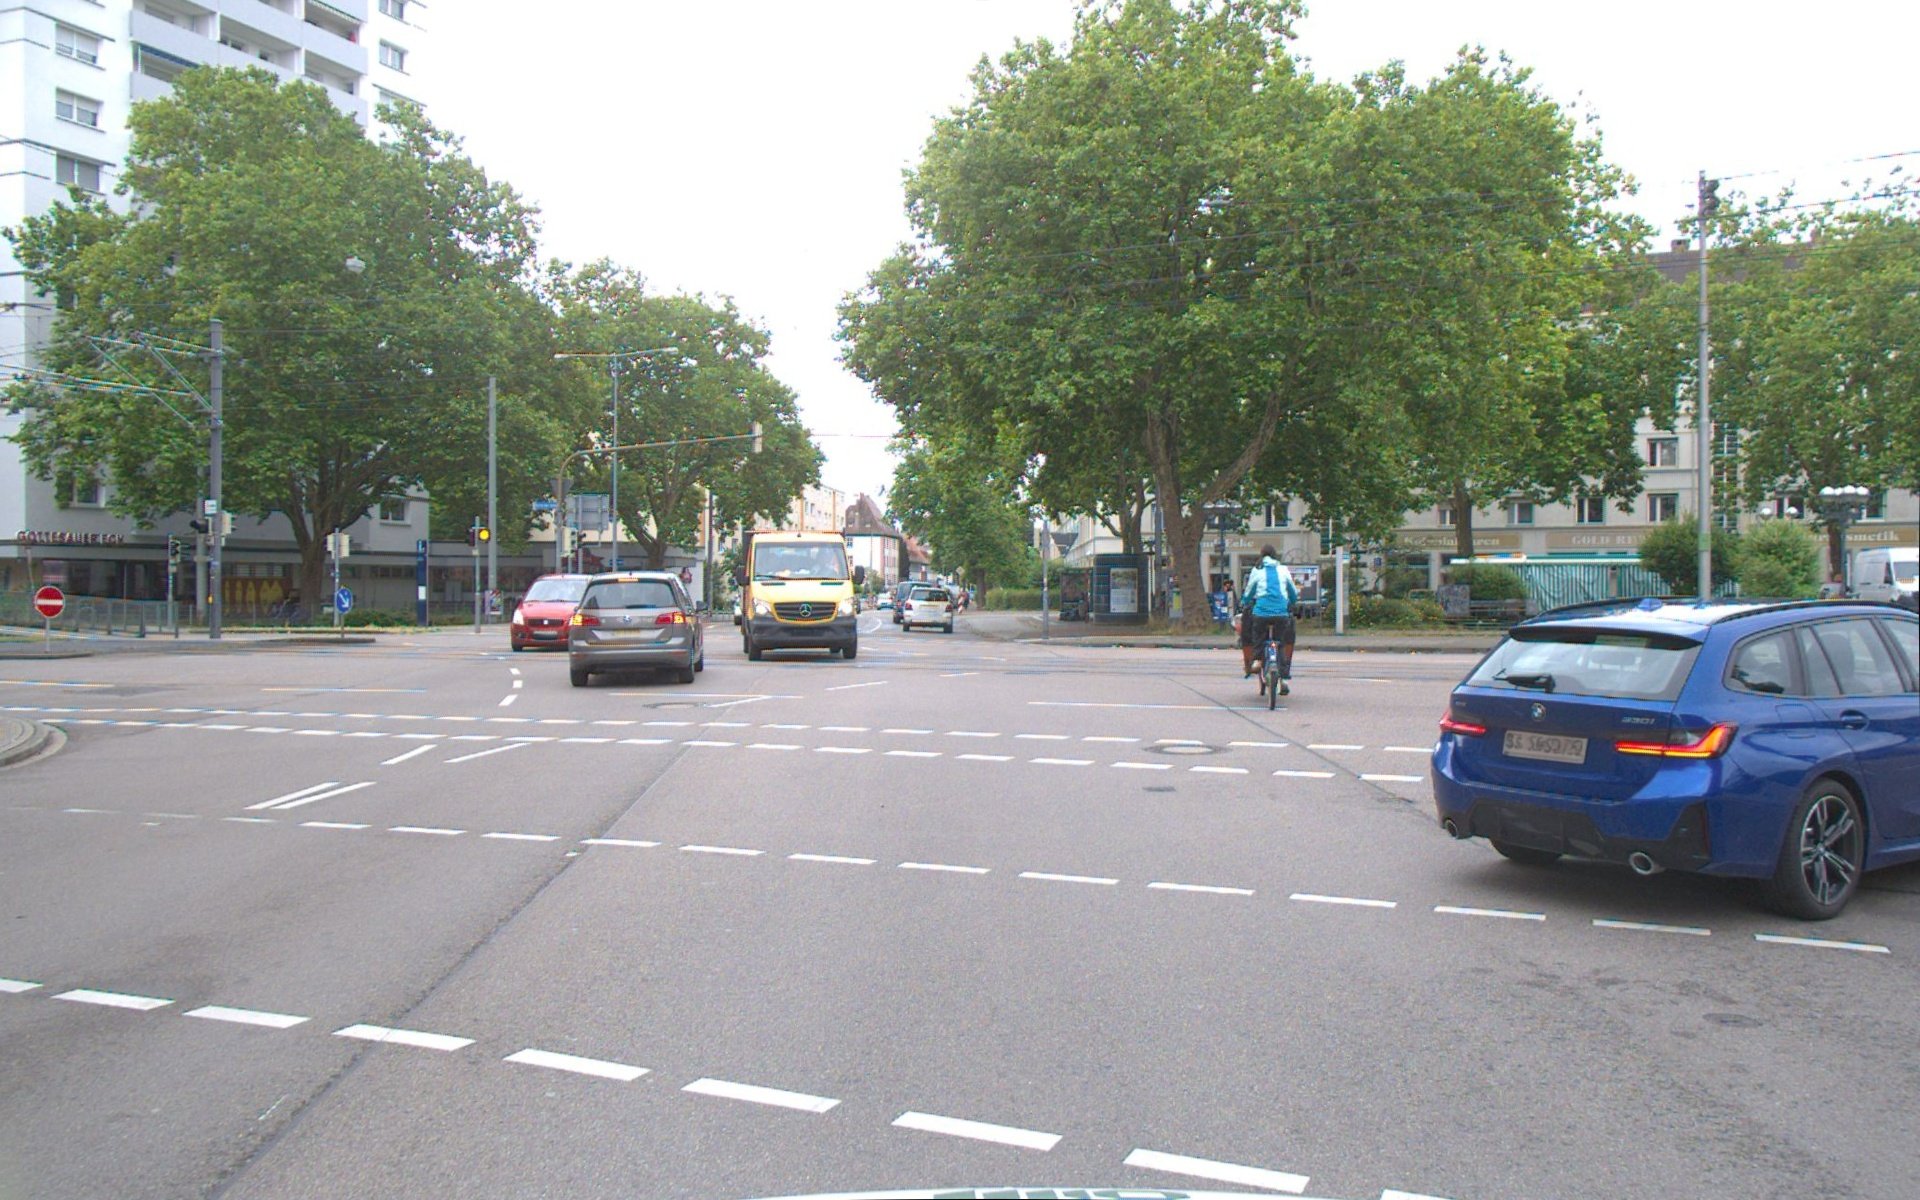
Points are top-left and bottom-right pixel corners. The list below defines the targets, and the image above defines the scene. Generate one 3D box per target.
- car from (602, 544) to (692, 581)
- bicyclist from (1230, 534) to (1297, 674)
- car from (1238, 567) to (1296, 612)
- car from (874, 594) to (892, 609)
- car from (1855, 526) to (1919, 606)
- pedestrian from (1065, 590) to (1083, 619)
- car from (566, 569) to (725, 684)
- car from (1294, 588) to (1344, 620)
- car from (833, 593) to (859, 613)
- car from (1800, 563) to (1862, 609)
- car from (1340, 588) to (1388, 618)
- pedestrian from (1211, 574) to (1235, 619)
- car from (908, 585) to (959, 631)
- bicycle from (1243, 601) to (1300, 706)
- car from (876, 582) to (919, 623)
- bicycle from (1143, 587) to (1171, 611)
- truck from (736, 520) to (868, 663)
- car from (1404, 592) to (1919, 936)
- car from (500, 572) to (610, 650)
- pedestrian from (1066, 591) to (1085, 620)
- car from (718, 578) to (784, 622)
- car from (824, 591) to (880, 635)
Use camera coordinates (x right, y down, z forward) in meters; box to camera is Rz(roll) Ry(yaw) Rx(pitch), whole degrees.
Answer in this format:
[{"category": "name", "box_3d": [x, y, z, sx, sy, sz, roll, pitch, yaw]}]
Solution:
[{"category": "car", "box_3d": [-15.426, -1.844, 81.526, 3.946, 1.736, 1.979, 0, 0, -31]}, {"category": "bicyclist", "box_3d": [3.448, 0.039, 18.852, 0.671, 1.544, 1.059, 0, 0, 7]}, {"category": "car", "box_3d": [15.589, -0.522, 83.791, 2.130, 2.239, 4.000, 0, 0, 22]}, {"category": "car", "box_3d": [-7.862, 0.161, 168.547, 1.732, 1.512, 3.999, 0, 0, -1]}, {"category": "car", "box_3d": [33.238, -1.173, 57.981, 2.188, 2.685, 5.451, 0, 1, 16]}, {"category": "pedestrian", "box_3d": [5.473, 0.217, 79.582, 0.801, 1.396, 0.762, 0, 0, -2]}, {"category": "car", "box_3d": [-4.558, 0.339, 24.475, 1.697, 1.551, 3.999, 0, 1, -2]}, {"category": "car", "box_3d": [17.985, 0.194, 82.722, 1.760, 1.570, 3.826, 0, 0, 23]}, {"category": "car", "box_3d": [-8.751, 0.241, 126.766, 1.816, 1.478, 4.166, 0, 1, -2]}, {"category": "car", "box_3d": [30.471, -0.506, 57.919, 1.631, 1.542, 3.937, 0, 1, 24]}, {"category": "car", "box_3d": [20.208, 0.128, 82.642, 1.760, 1.466, 3.826, 0, 0, 23]}, {"category": "pedestrian", "box_3d": [10.299, -0.133, 64.811, 0.768, 1.774, 0.924, 0, 0, -3]}, {"category": "car", "box_3d": [-1.001, 0.252, 60.977, 1.779, 1.620, 3.999, 0, 1, -2]}, {"category": "bicycle", "box_3d": [3.580, 0.589, 19.126, 0.483, 1.117, 2.140, 0, 1, 6]}, {"category": "car", "box_3d": [-2.978, 0.106, 78.713, 1.954, 1.880, 3.997, 0, 1, -3]}, {"category": "bicycle", "box_3d": [9.654, -0.051, 81.031, 0.762, 1.188, 2.332, 0, 0, 23]}, {"category": "truck", "box_3d": [-3.092, -0.184, 31.349, 2.037, 2.450, 5.449, -1, 1, -10]}, {"category": "car", "box_3d": [4.558, 0.690, 9.019, 4.268, 1.430, 1.800, -1, 1, -34]}, {"category": "car", "box_3d": [-8.584, 0.201, 35.358, 1.699, 1.551, 3.996, 0, 1, -5]}, {"category": "pedestrian", "box_3d": [5.497, 0.262, 78.629, 0.836, 1.337, 0.762, 0, 0, -2]}, {"category": "car", "box_3d": [-9.189, -0.026, 73.039, 1.827, 1.858, 5.229, 0, 1, 5]}, {"category": "car", "box_3d": [-3.705, 0.432, 57.316, 1.772, 1.452, 4.315, 0, 0, -2]}]
